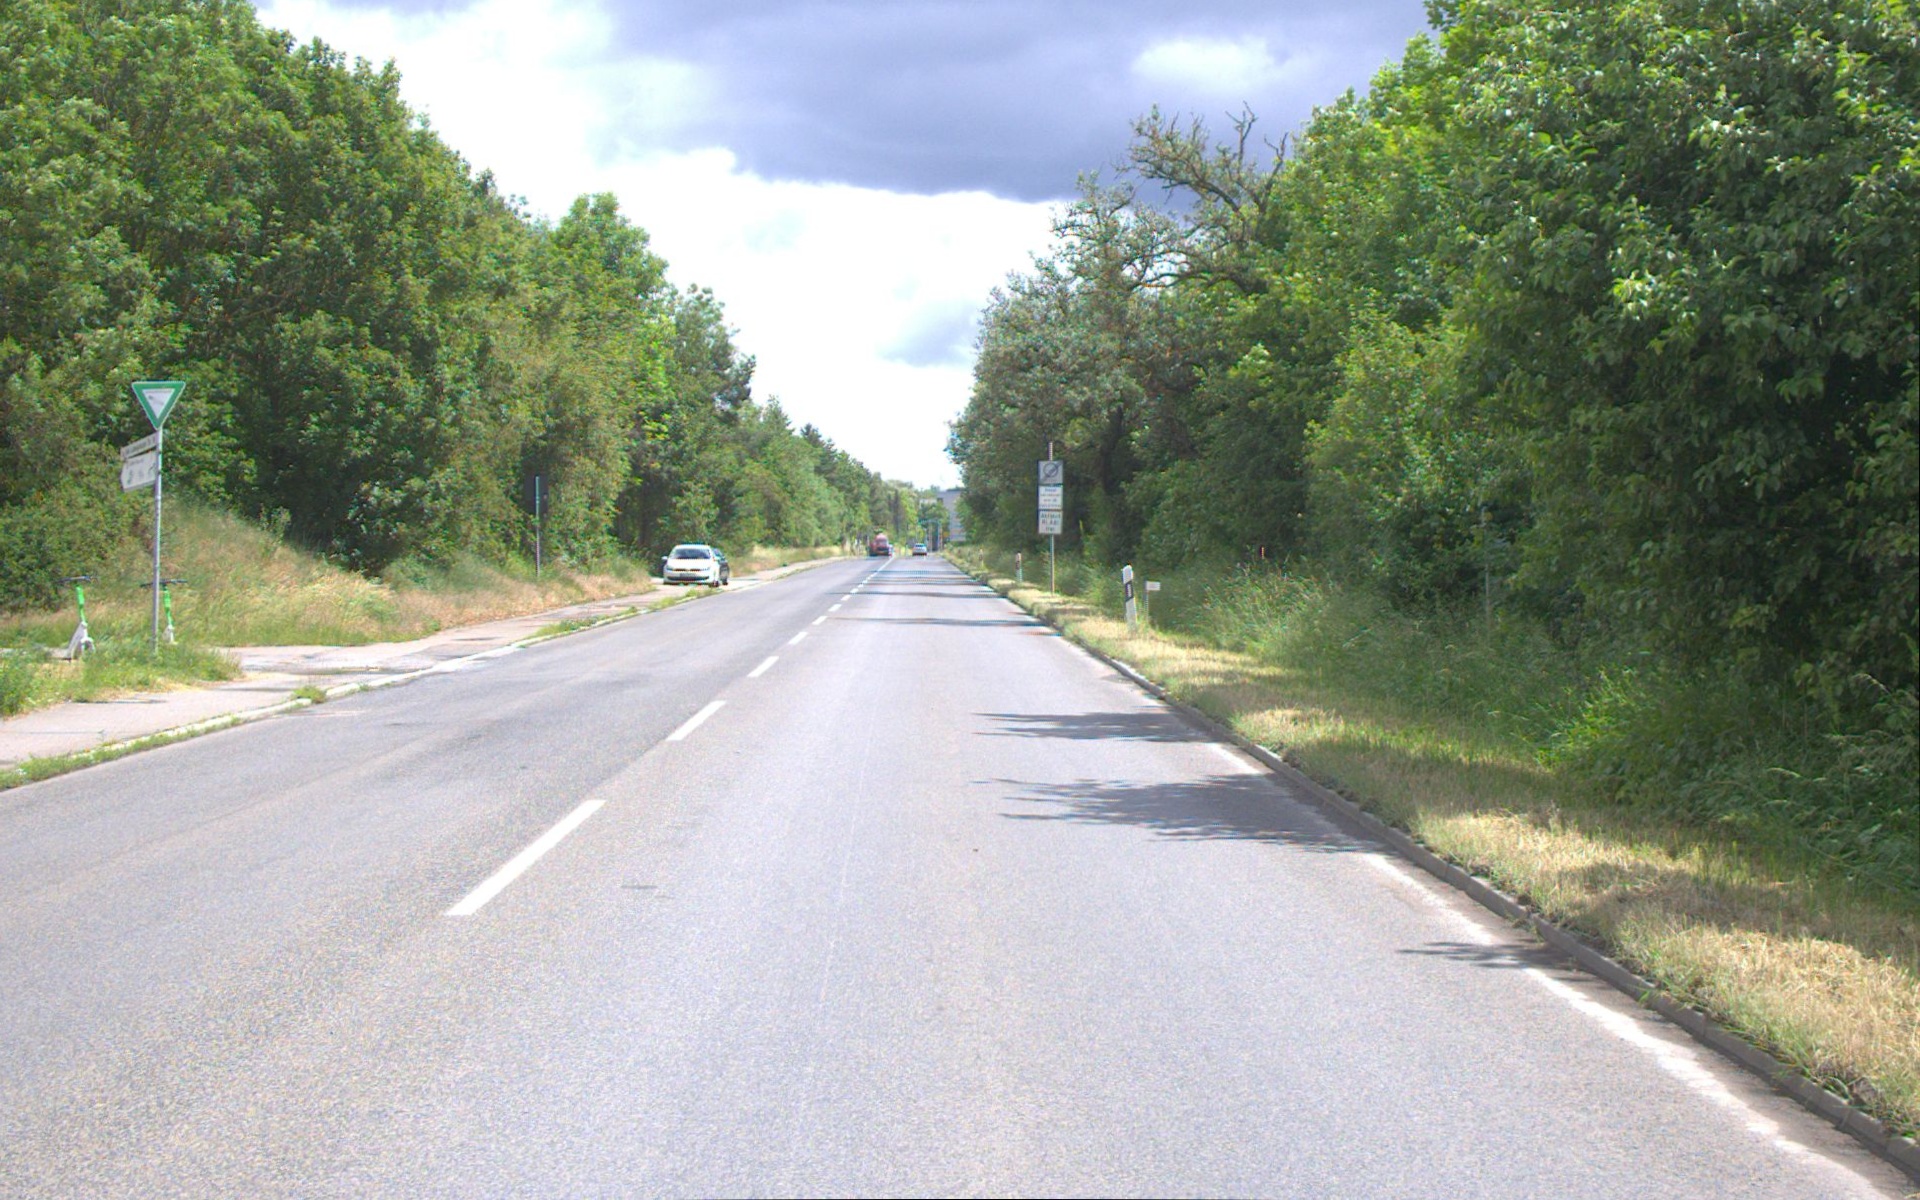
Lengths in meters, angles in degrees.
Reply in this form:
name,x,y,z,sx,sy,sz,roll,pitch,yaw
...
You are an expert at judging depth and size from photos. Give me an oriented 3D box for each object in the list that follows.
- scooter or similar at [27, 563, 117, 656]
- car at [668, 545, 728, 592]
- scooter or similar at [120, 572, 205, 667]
name,x,y,z,sx,sy,sz,roll,pitch,yaw
scooter or similar,-11.411,0.117,44.167,1.350,1.164,0.406,1,1,40
car,-9.051,-1.074,118.984,1.798,1.538,3.955,0,0,-1
scooter or similar,-10.098,0.243,43.512,0.406,1.164,1.350,-1,1,-44
